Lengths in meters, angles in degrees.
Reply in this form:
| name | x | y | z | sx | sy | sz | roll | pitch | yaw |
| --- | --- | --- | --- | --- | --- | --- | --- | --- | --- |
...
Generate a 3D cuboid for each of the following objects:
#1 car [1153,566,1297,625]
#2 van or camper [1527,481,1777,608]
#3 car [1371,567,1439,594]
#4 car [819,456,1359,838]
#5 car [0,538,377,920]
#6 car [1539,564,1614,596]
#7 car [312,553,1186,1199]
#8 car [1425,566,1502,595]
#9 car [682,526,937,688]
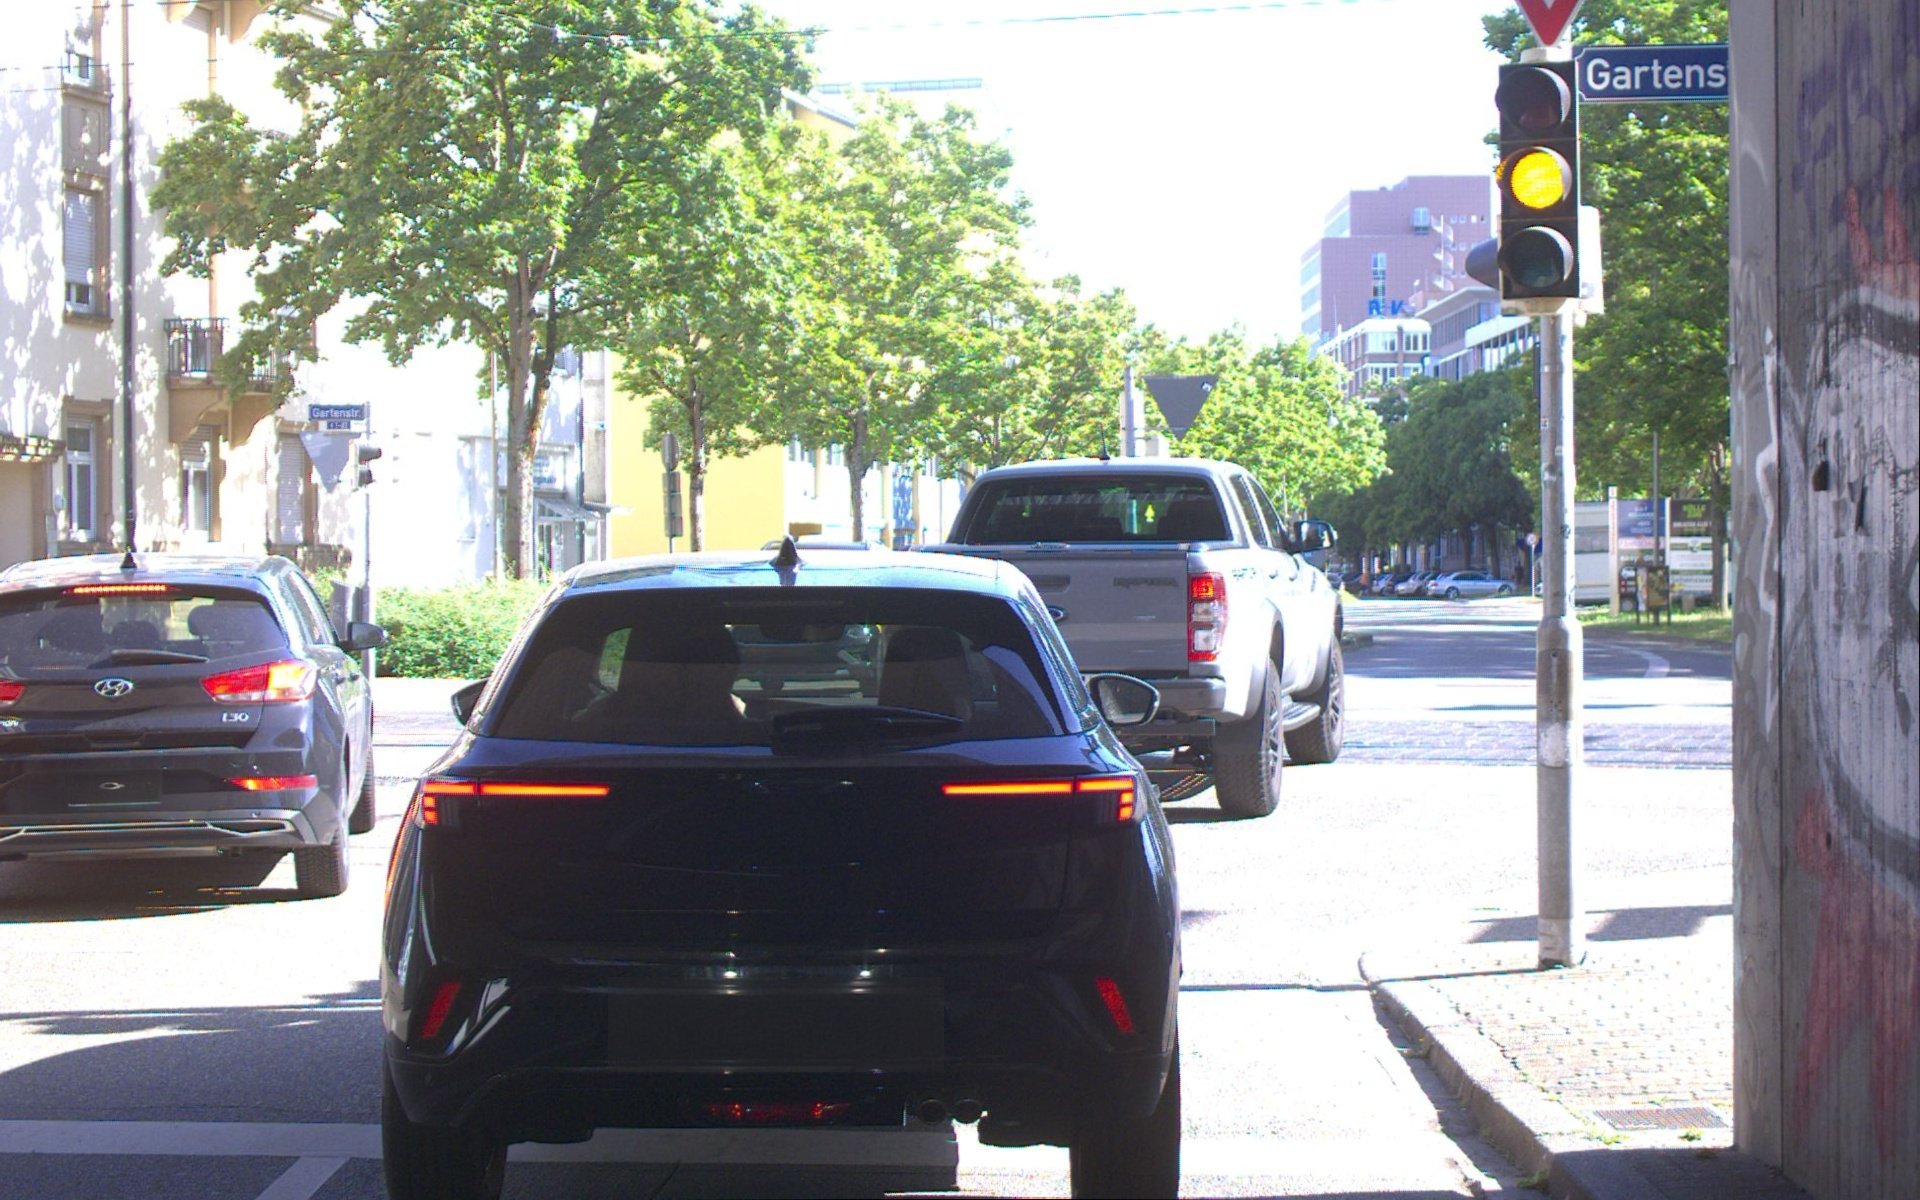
| name | x | y | z | sx | sy | sz | roll | pitch | yaw |
| --- | --- | --- | --- | --- | --- | --- | --- | --- | --- |
| car | 9.696 | -0.169 | 125.843 | 4.883 | 2.076 | 1.986 | -1 | 0 | -23 |
| van or camper | 17.746 | -1.398 | 88.419 | 6.081 | 2.919 | 2.574 | -3 | 0 | 11 |
| car | 27.144 | -1.188 | 209.796 | 3.947 | 1.392 | 1.516 | -3 | 0 | 3 |
| car | 0.886 | 0.189 | 19.088 | 2.134 | 1.829 | 4.938 | 0 | 1 | 12 |
| car | -3.680 | 0.481 | 15.945 | 1.800 | 1.446 | 4.327 | -1 | 2 | -8 |
| car | 27.805 | -0.910 | 155.024 | 3.245 | 1.273 | 1.516 | -3 | 0 | 10 |
| car | -0.411 | 0.642 | 8.894 | 1.782 | 1.512 | 3.755 | 0 | 1 | 1 |
| car | 27.176 | -1.056 | 185.672 | 3.947 | 1.392 | 1.516 | -3 | 0 | 3 |
| car | -1.434 | 0.038 | 34.345 | 1.788 | 1.508 | 4.115 | 0 | 1 | 8 |
